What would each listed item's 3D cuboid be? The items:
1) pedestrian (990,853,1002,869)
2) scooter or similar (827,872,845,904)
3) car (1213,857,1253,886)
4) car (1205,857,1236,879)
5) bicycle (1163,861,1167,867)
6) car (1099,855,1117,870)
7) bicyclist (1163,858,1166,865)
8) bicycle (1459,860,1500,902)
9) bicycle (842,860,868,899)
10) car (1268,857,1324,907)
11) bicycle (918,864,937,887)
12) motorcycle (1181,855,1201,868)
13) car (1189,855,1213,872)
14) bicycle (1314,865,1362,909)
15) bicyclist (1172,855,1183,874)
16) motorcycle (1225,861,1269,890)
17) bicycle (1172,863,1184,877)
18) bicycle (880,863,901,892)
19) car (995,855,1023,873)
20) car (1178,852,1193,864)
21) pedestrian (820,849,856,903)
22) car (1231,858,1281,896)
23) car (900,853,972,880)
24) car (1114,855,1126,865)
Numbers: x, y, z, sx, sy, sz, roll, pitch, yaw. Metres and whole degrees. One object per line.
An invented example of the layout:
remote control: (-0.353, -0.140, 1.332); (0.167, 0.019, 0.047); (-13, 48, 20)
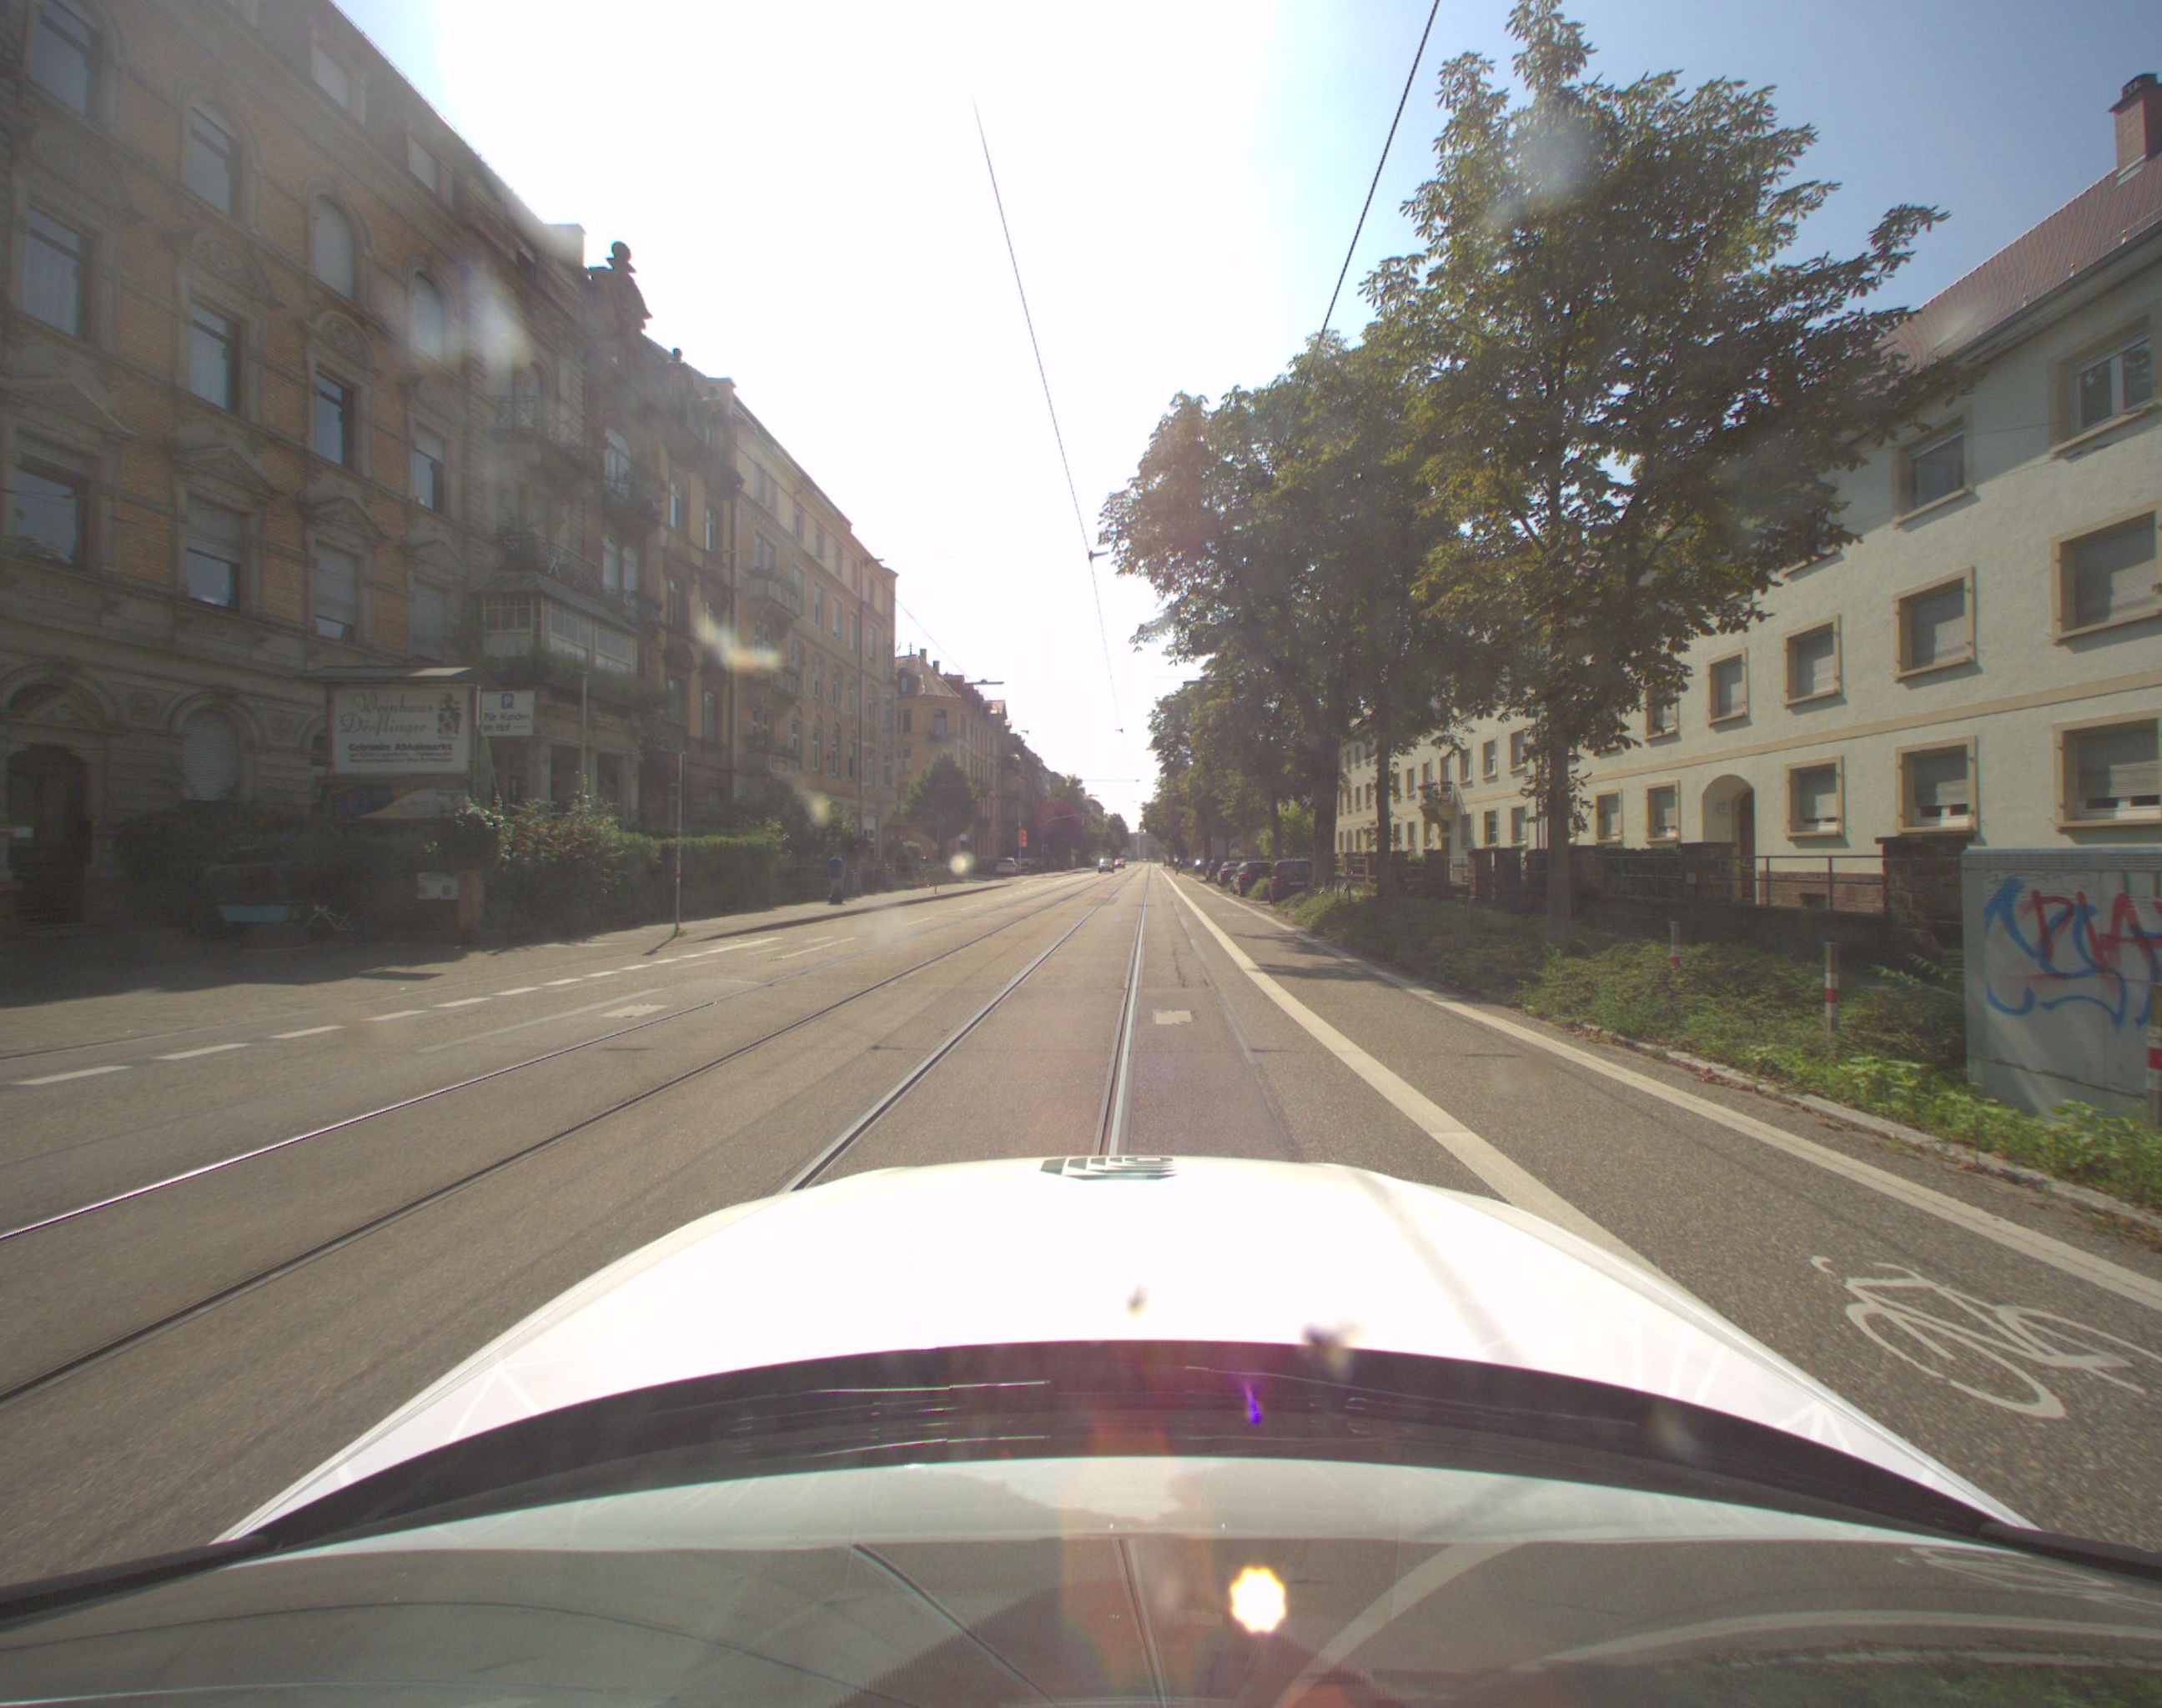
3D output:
pedestrian: (-8.318, 0.660, 79.611); (0.888, 1.511, 0.863); (0, 0, -26)
scooter or similar: (-7.941, 1.099, 26.391); (0.399, 0.982, 0.584); (1, 0, -3)
car: (8.600, 0.965, 46.331); (1.747, 1.477, 4.464); (-4, -1, 5)
car: (9.650, 0.956, 56.706); (1.747, 1.477, 4.391); (0, 0, 4)
bicycle: (15.150, 1.812, 147.250); (0.584, 0.939, 2.176); (0, -1, 7)
car: (2.986, 0.890, 89.787); (1.819, 1.540, 4.005); (-1, 0, 4)
bicyclist: (15.153, 1.421, 147.292); (0.576, 1.279, 0.472); (0, -1, 7)
bicycle: (11.569, 0.754, 23.699); (0.466, 1.160, 1.719); (0, 0, 4)
bicycle: (-8.353, 0.920, 30.113); (0.388, 1.406, 1.584); (0, 0, 6)
car: (7.238, 0.900, 27.658); (1.606, 1.530, 3.510); (-1, 0, 11)
bicycle: (-7.518, 1.031, 39.857); (0.388, 1.038, 1.836); (0, 0, 6)
motorcycle: (13.227, 0.941, 98.080); (0.974, 1.540, 2.317); (1, -3, -44)
car: (10.977, 0.828, 74.727); (1.883, 1.477, 4.846); (0, 0, 5)
bicycle: (6.820, 0.860, 21.614); (1.397, 1.108, 0.386); (0, 0, -31)
bicyclist: (9.389, 0.977, 79.240); (1.120, 1.837, 0.957); (0, -1, 5)
motorcycle: (8.113, 1.040, 39.913); (1.996, 1.368, 0.783); (0, 0, 2)
bicycle: (9.420, 1.520, 79.355); (1.142, 1.269, 2.717); (0, 0, 6)
bicycle: (-7.961, 0.958, 34.069); (0.388, 1.147, 1.584); (0, 0, 6)
car: (-6.403, 0.861, 72.831); (1.986, 1.594, 4.361); (0, 0, 1)
car: (14.496, 0.503, 113.469); (1.832, 1.532, 4.121); (-1, 1, 5)
pedestrian: (-8.078, 0.730, 27.093); (0.879, 1.756, 0.871); (0, 0, 5)
car: (7.557, 0.949, 35.414); (1.609, 1.477, 4.045); (-2, 0, 5)
car: (-9.051, 0.763, 51.053); (4.080, 1.594, 1.882); (1, 0, 6)
car: (6.151, 0.977, 128.176); (1.724, 1.490, 4.005); (-1, 0, 4)
